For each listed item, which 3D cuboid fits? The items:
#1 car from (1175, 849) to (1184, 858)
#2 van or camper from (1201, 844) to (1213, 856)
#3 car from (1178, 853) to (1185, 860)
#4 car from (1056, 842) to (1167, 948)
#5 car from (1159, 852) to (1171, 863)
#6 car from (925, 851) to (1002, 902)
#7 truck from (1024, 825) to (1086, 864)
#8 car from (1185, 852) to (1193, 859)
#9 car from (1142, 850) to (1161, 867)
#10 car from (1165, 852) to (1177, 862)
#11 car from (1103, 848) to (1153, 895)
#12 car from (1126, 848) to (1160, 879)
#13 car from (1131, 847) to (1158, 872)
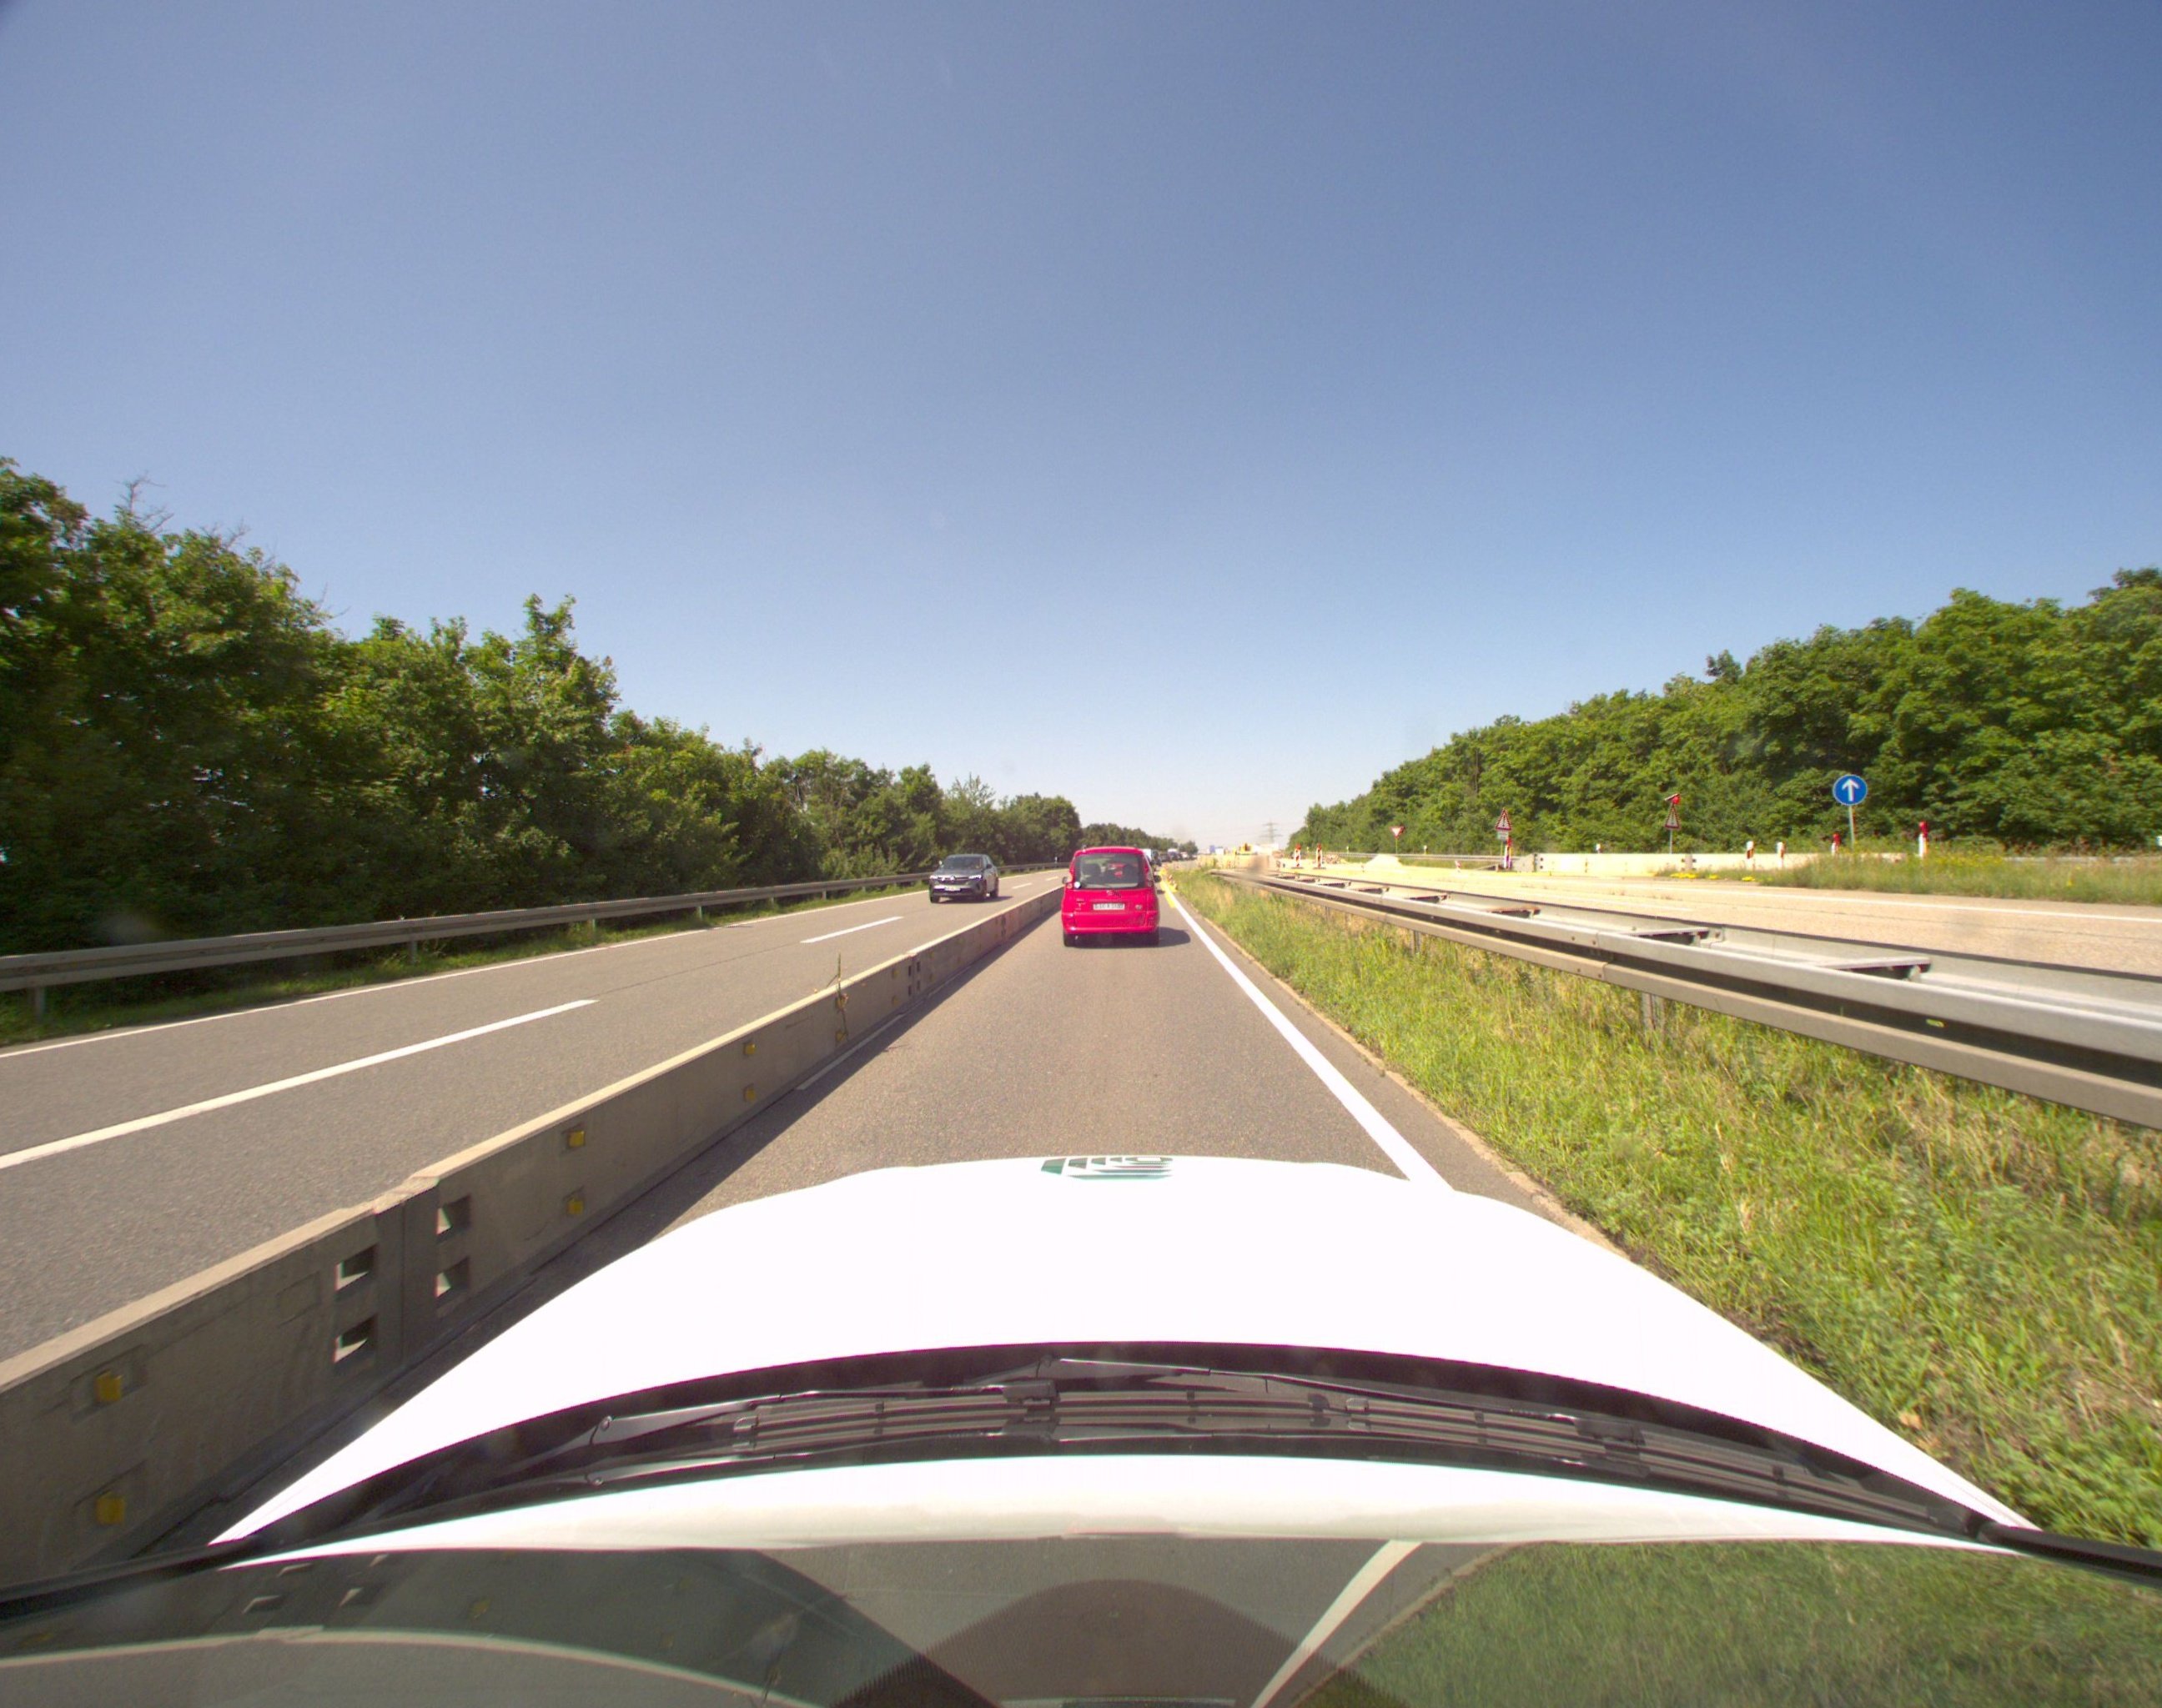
[{"bbox_3d":[18.377,-0.128,151.460,1.495,1.736,3.173,-1,0,4],"label":"car"},{"bbox_3d":[30.608,-0.896,198.205,2.319,2.707,4.594,-2,-1,1],"label":"van or camper"},{"bbox_3d":[20.748,0.519,167.710,1.414,1.298,2.884,-2,0,6],"label":"car"},{"bbox_3d":[0.566,0.662,15.086,1.745,1.673,4.002,-1,0,2],"label":"car"},{"bbox_3d":[11.808,0.543,114.778,1.495,1.450,3.328,-3,0,4],"label":"car"},{"bbox_3d":[-3.996,0.728,28.396,1.850,1.638,4.387,-1,0,3],"label":"car"},{"bbox_3d":[-3.797,-1.387,119.774,8.580,5.375,3.394,-2,0,5],"label":"truck"},{"bbox_3d":[24.046,0.283,181.384,1.494,1.450,3.175,-1,0,6],"label":"car"},{"bbox_3d":[7.624,0.472,88.583,1.984,1.750,4.005,0,0,4],"label":"car"},{"bbox_3d":[15.240,0.478,138.109,1.983,1.585,4.008,-1,0,7],"label":"car"},{"bbox_3d":[1.884,0.650,32.069,1.822,1.722,4.004,-1,0,4],"label":"car"},{"bbox_3d":[3.834,0.559,50.175,1.984,1.838,4.005,-1,0,5],"label":"car"},{"bbox_3d":[5.122,0.438,65.958,1.986,2.003,4.002,-1,0,2],"label":"car"}]
